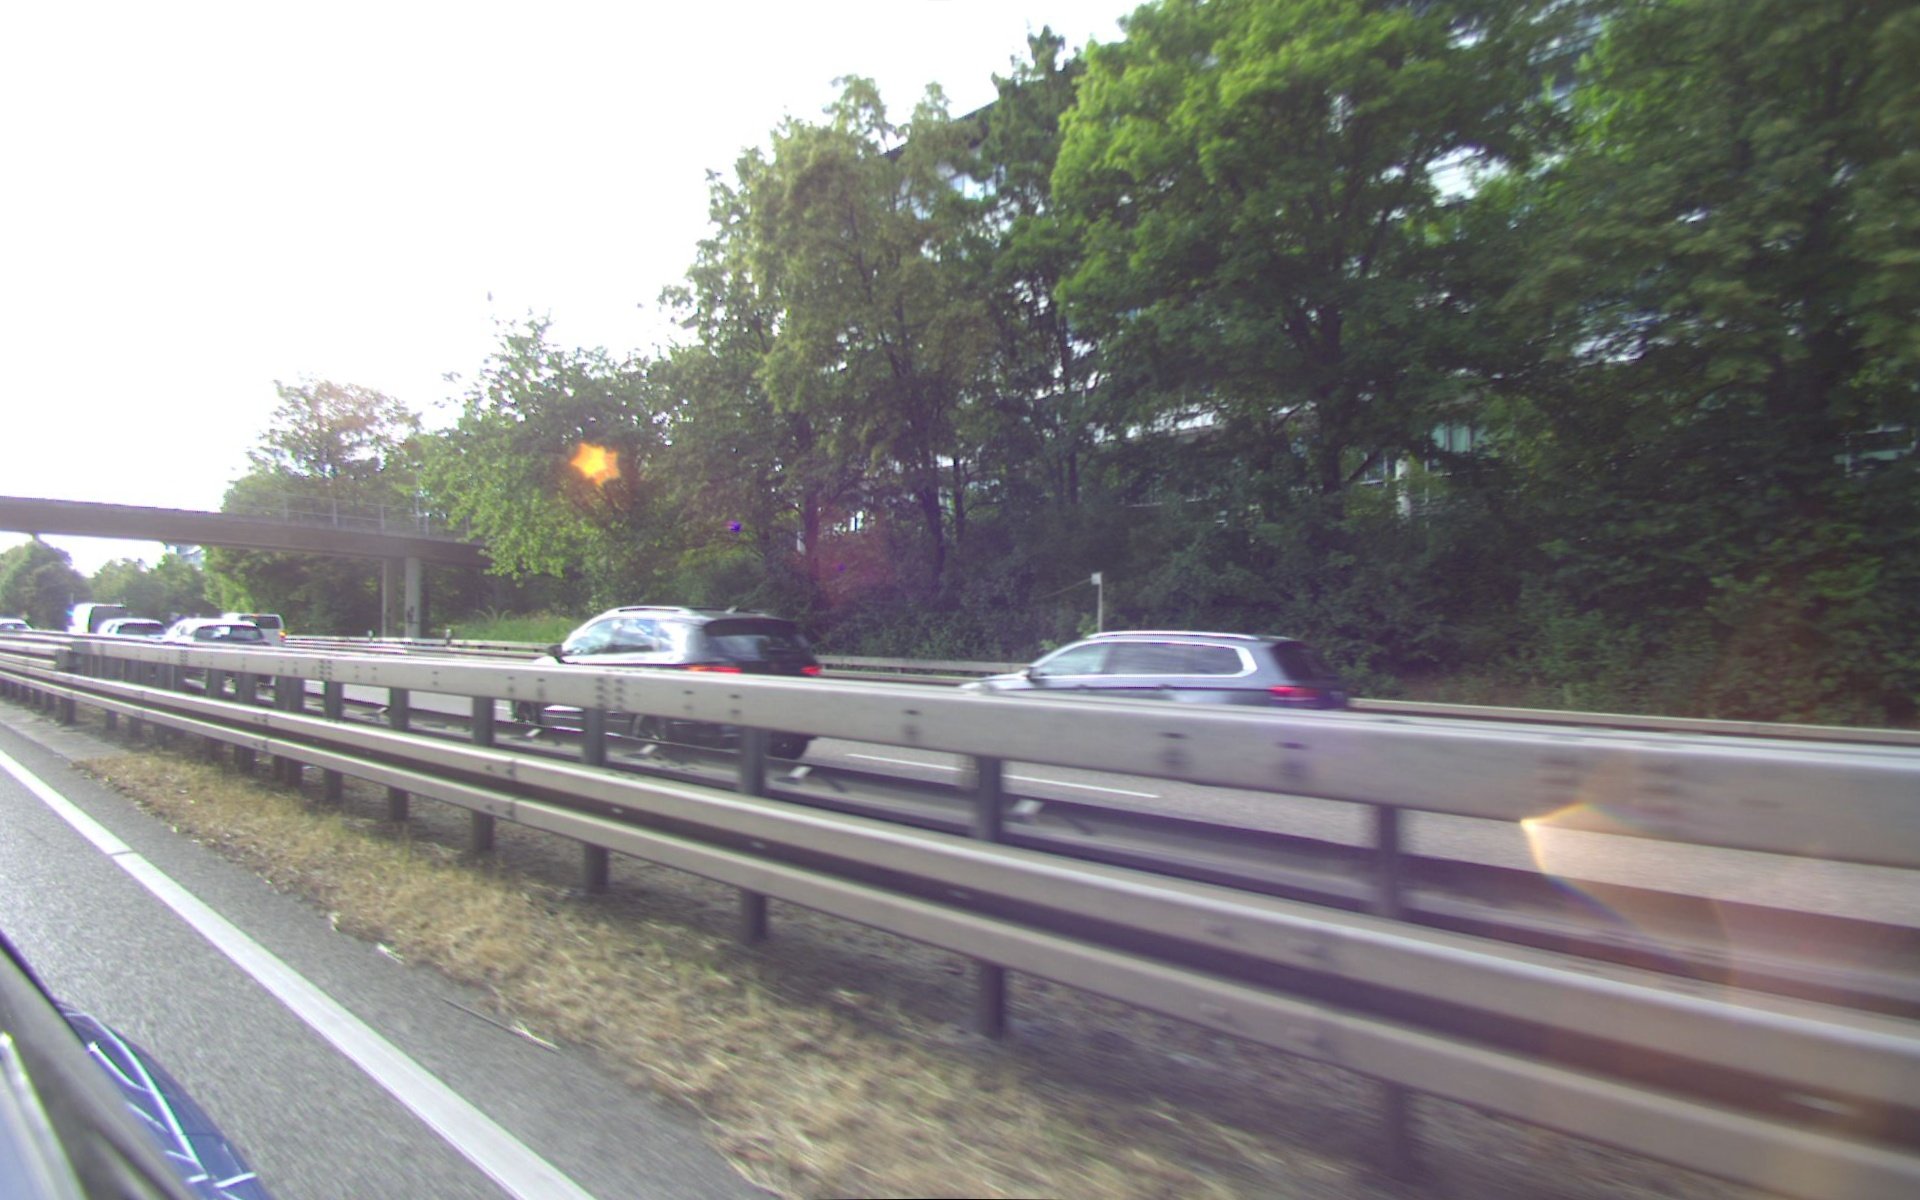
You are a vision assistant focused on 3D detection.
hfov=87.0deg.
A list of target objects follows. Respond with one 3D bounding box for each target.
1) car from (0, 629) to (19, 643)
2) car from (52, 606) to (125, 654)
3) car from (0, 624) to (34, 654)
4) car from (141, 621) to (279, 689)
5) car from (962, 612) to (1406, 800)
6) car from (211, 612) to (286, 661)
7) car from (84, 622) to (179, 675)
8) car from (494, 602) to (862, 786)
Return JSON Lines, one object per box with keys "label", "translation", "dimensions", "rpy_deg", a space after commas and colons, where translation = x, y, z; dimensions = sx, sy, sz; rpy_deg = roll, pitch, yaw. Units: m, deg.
{"label": "car", "translation": [-93.062, 3.531, 98.781], "dimensions": [3.307, 1.364, 1.415], "rpy_deg": [-1, -2, 40]}
{"label": "car", "translation": [-49.189, 1.695, 57.073], "dimensions": [6.938, 2.556, 2.226], "rpy_deg": [-1, -2, 42]}
{"label": "car", "translation": [-50.959, 2.077, 54.176], "dimensions": [3.638, 1.540, 1.589], "rpy_deg": [-1, -2, 41]}
{"label": "car", "translation": [-16.568, 1.156, 22.301], "dimensions": [3.830, 1.362, 1.658], "rpy_deg": [-1, -2, 41]}
{"label": "car", "translation": [2.221, 0.975, 10.751], "dimensions": [4.309, 1.601, 1.724], "rpy_deg": [-1, -4, 41]}
{"label": "car", "translation": [-29.183, 1.461, 41.446], "dimensions": [1.846, 1.869, 4.626], "rpy_deg": [0, -1, -43]}
{"label": "car", "translation": [-25.220, 1.427, 30.761], "dimensions": [3.644, 1.497, 1.664], "rpy_deg": [-1, -2, 41]}
{"label": "car", "translation": [-3.179, 0.866, 10.909], "dimensions": [4.315, 1.596, 1.801], "rpy_deg": [-1, -2, 42]}
